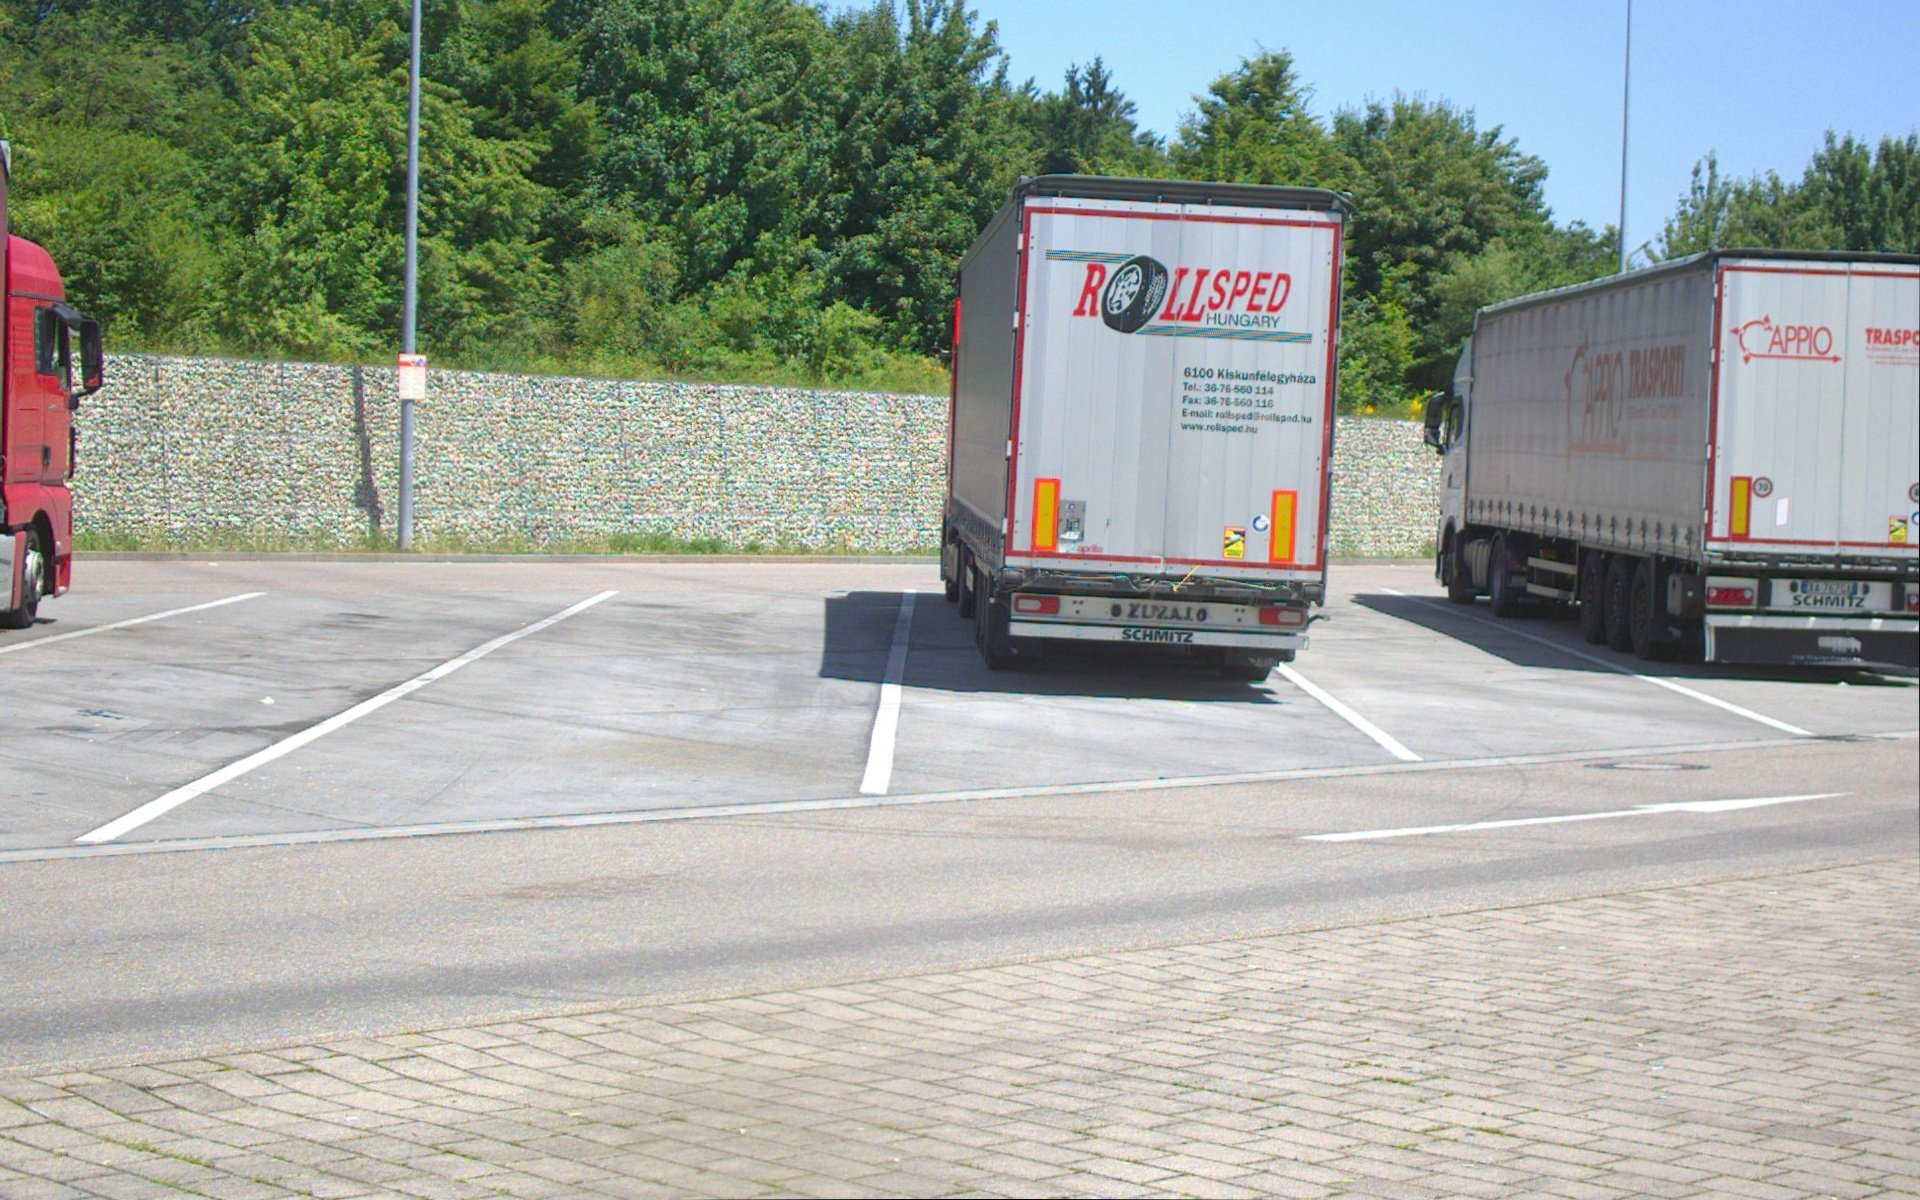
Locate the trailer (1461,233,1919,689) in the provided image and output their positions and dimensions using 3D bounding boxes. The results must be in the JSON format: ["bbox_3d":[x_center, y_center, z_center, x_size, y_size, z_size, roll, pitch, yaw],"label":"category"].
[{"bbox_3d":[8.194,-1.587,38.348,2.858,4.095,13.765,2,3,-1],"label":"trailer"}]

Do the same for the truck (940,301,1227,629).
[{"bbox_3d":[1.281,-1.570,39.295,2.865,3.351,5.975,2,3,-1],"label":"truck"}]

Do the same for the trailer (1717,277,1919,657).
[{"bbox_3d":[11.791,-1.504,39.360,2.858,4.095,13.765,2,3,-1],"label":"trailer"}]

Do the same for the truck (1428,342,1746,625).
[{"bbox_3d":[8.092,-1.567,45.114,2.865,3.351,5.975,2,3,-1],"label":"truck"}]

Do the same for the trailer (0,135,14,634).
[{"bbox_3d":[-9.157,-1.462,21.352,2.821,4.057,13.765,2,3,-1],"label":"trailer"}]

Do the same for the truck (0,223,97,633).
[{"bbox_3d":[-9.245,-1.452,28.171,2.812,3.351,5.975,2,3,-1],"label":"truck"}]

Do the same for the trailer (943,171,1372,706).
[{"bbox_3d":[1.465,-1.565,33.093,2.858,3.958,13.765,2,3,-1],"label":"trailer"}]
